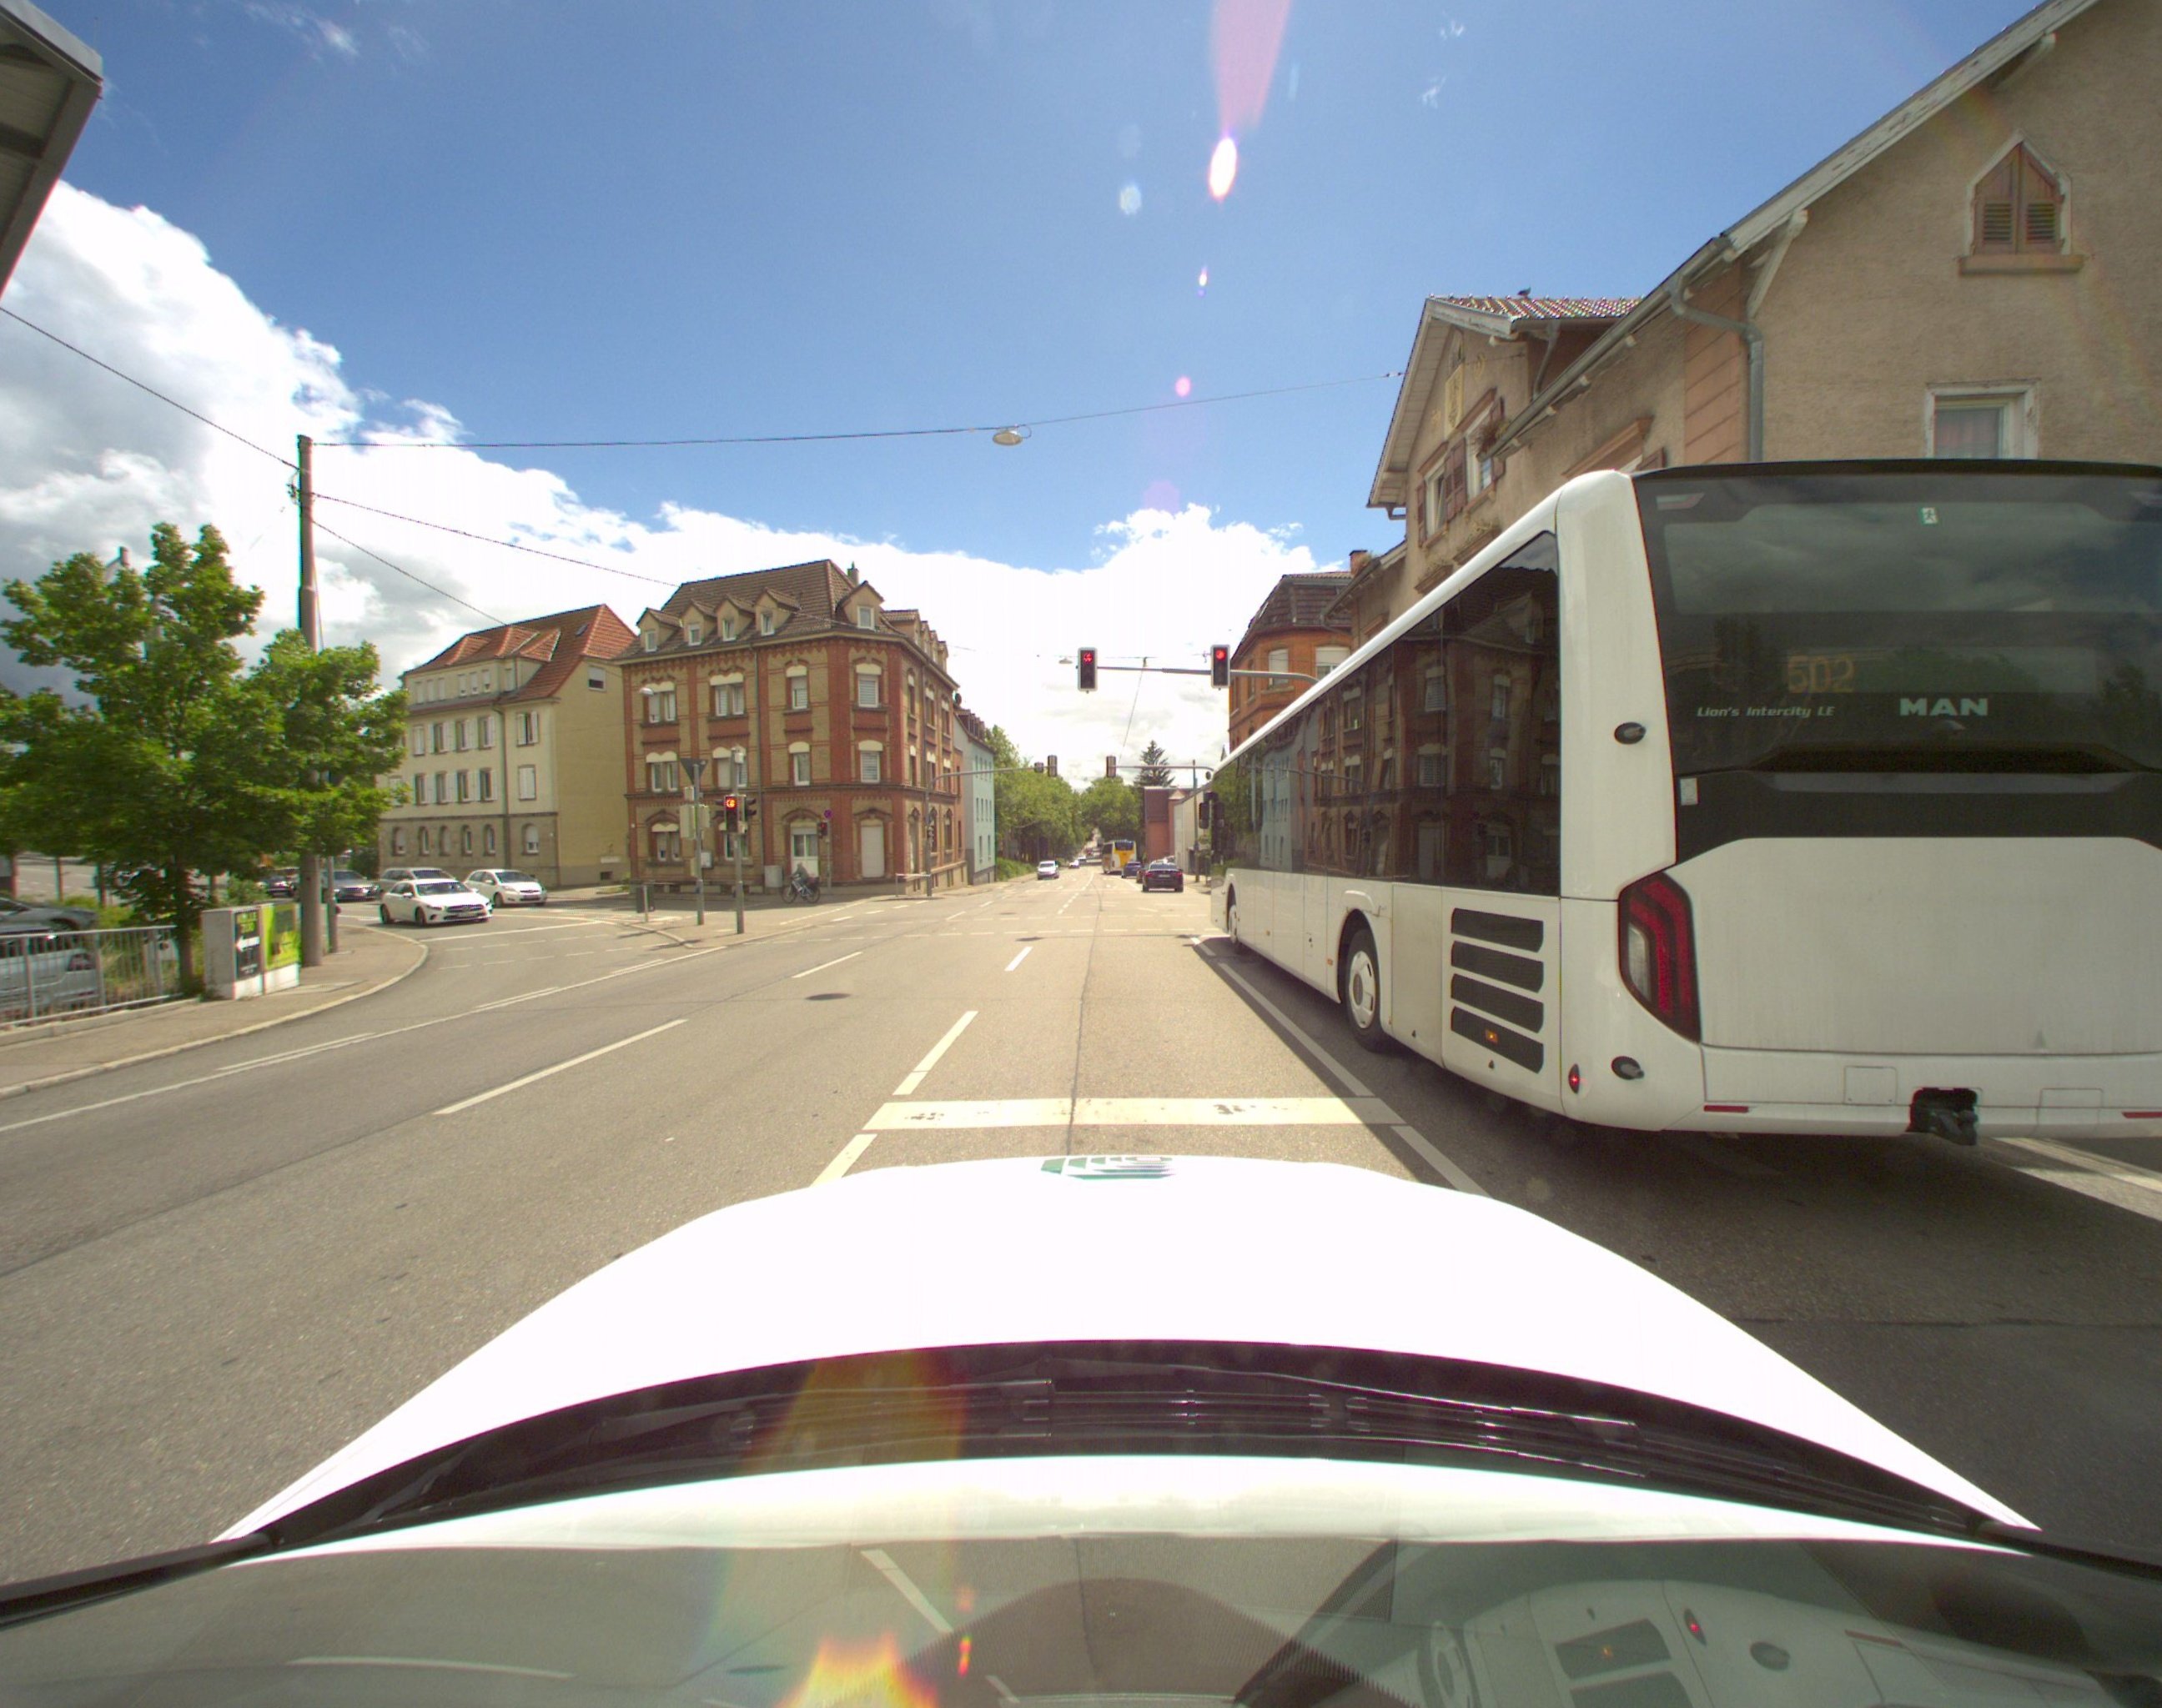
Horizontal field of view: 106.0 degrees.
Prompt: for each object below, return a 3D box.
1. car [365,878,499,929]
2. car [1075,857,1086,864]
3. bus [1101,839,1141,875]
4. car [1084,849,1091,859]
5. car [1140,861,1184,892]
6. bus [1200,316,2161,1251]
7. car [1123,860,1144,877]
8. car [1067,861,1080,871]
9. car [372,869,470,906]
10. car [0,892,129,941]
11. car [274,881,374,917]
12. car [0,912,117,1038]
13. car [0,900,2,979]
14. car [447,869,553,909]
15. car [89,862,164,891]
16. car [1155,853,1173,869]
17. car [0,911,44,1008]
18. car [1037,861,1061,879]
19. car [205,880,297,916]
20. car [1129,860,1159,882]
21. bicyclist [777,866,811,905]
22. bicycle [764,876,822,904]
[{"bbox_3d":[-20.937,1.580,26.244,4.334,1.447,1.874,-2,0,30],"label":"car"},{"bbox_3d":[-0.050,1.486,186.694,2.199,1.613,4.549,-2,0,2],"label":"car"},{"bbox_3d":[4.206,0.326,89.116,3.292,3.631,11.233,-2,0,-2],"label":"bus"},{"bbox_3d":[1.976,0.132,253.893,2.133,3.070,5.629,0,-1,2],"label":"car"},{"bbox_3d":[3.754,1.022,38.357,1.791,1.276,4.002,-2,0,2],"label":"car"},{"bbox_3d":[3.546,-0.225,9.305,2.893,3.510,12.492,0,0,2],"label":"bus"},{"bbox_3d":[4.417,1.200,68.883,1.603,1.376,4.002,-2,0,2],"label":"car"},{"bbox_3d":[-1.120,1.854,126.971,1.858,1.367,4.549,-2,0,2],"label":"car"},{"bbox_3d":[-29.204,1.468,36.047,3.951,1.519,1.757,-1,0,24],"label":"car"},{"bbox_3d":[-29.250,1.730,22.213,1.795,1.186,4.025,-1,0,31],"label":"car"},{"bbox_3d":[-35.449,2.077,38.139,3.951,1.519,2.011,-1,0,24],"label":"car"},{"bbox_3d":[-16.113,1.741,12.182,3.638,1.575,1.766,-1,-2,34],"label":"car"},{"bbox_3d":[-23.400,1.736,16.431,3.371,1.575,1.526,-1,0,30],"label":"car"},{"bbox_3d":[-23.596,1.391,33.060,3.951,1.497,1.711,-1,0,24],"label":"car"},{"bbox_3d":[-56.544,1.332,48.243,4.291,1.586,2.012,-1,0,29],"label":"car"},{"bbox_3d":[9.478,0.772,93.261,1.760,1.665,4.002,-2,0,2],"label":"car"},{"bbox_3d":[-19.708,1.833,14.151,3.744,1.523,1.526,-1,0,30],"label":"car"},{"bbox_3d":[-3.016,1.465,76.745,1.928,1.563,4.390,-2,0,2],"label":"car"},{"bbox_3d":[-42.078,2.227,41.280,3.951,1.642,2.011,-2,0,24],"label":"car"},{"bbox_3d":[4.395,1.179,57.122,1.858,1.367,4.549,-2,0,2],"label":"car"},{"bbox_3d":[-11.584,1.266,32.882,1.065,1.499,0.592,-2,0,10],"label":"bicyclist"},{"bbox_3d":[-11.625,1.449,32.892,2.172,1.019,0.608,-2,0,9],"label":"bicycle"}]
